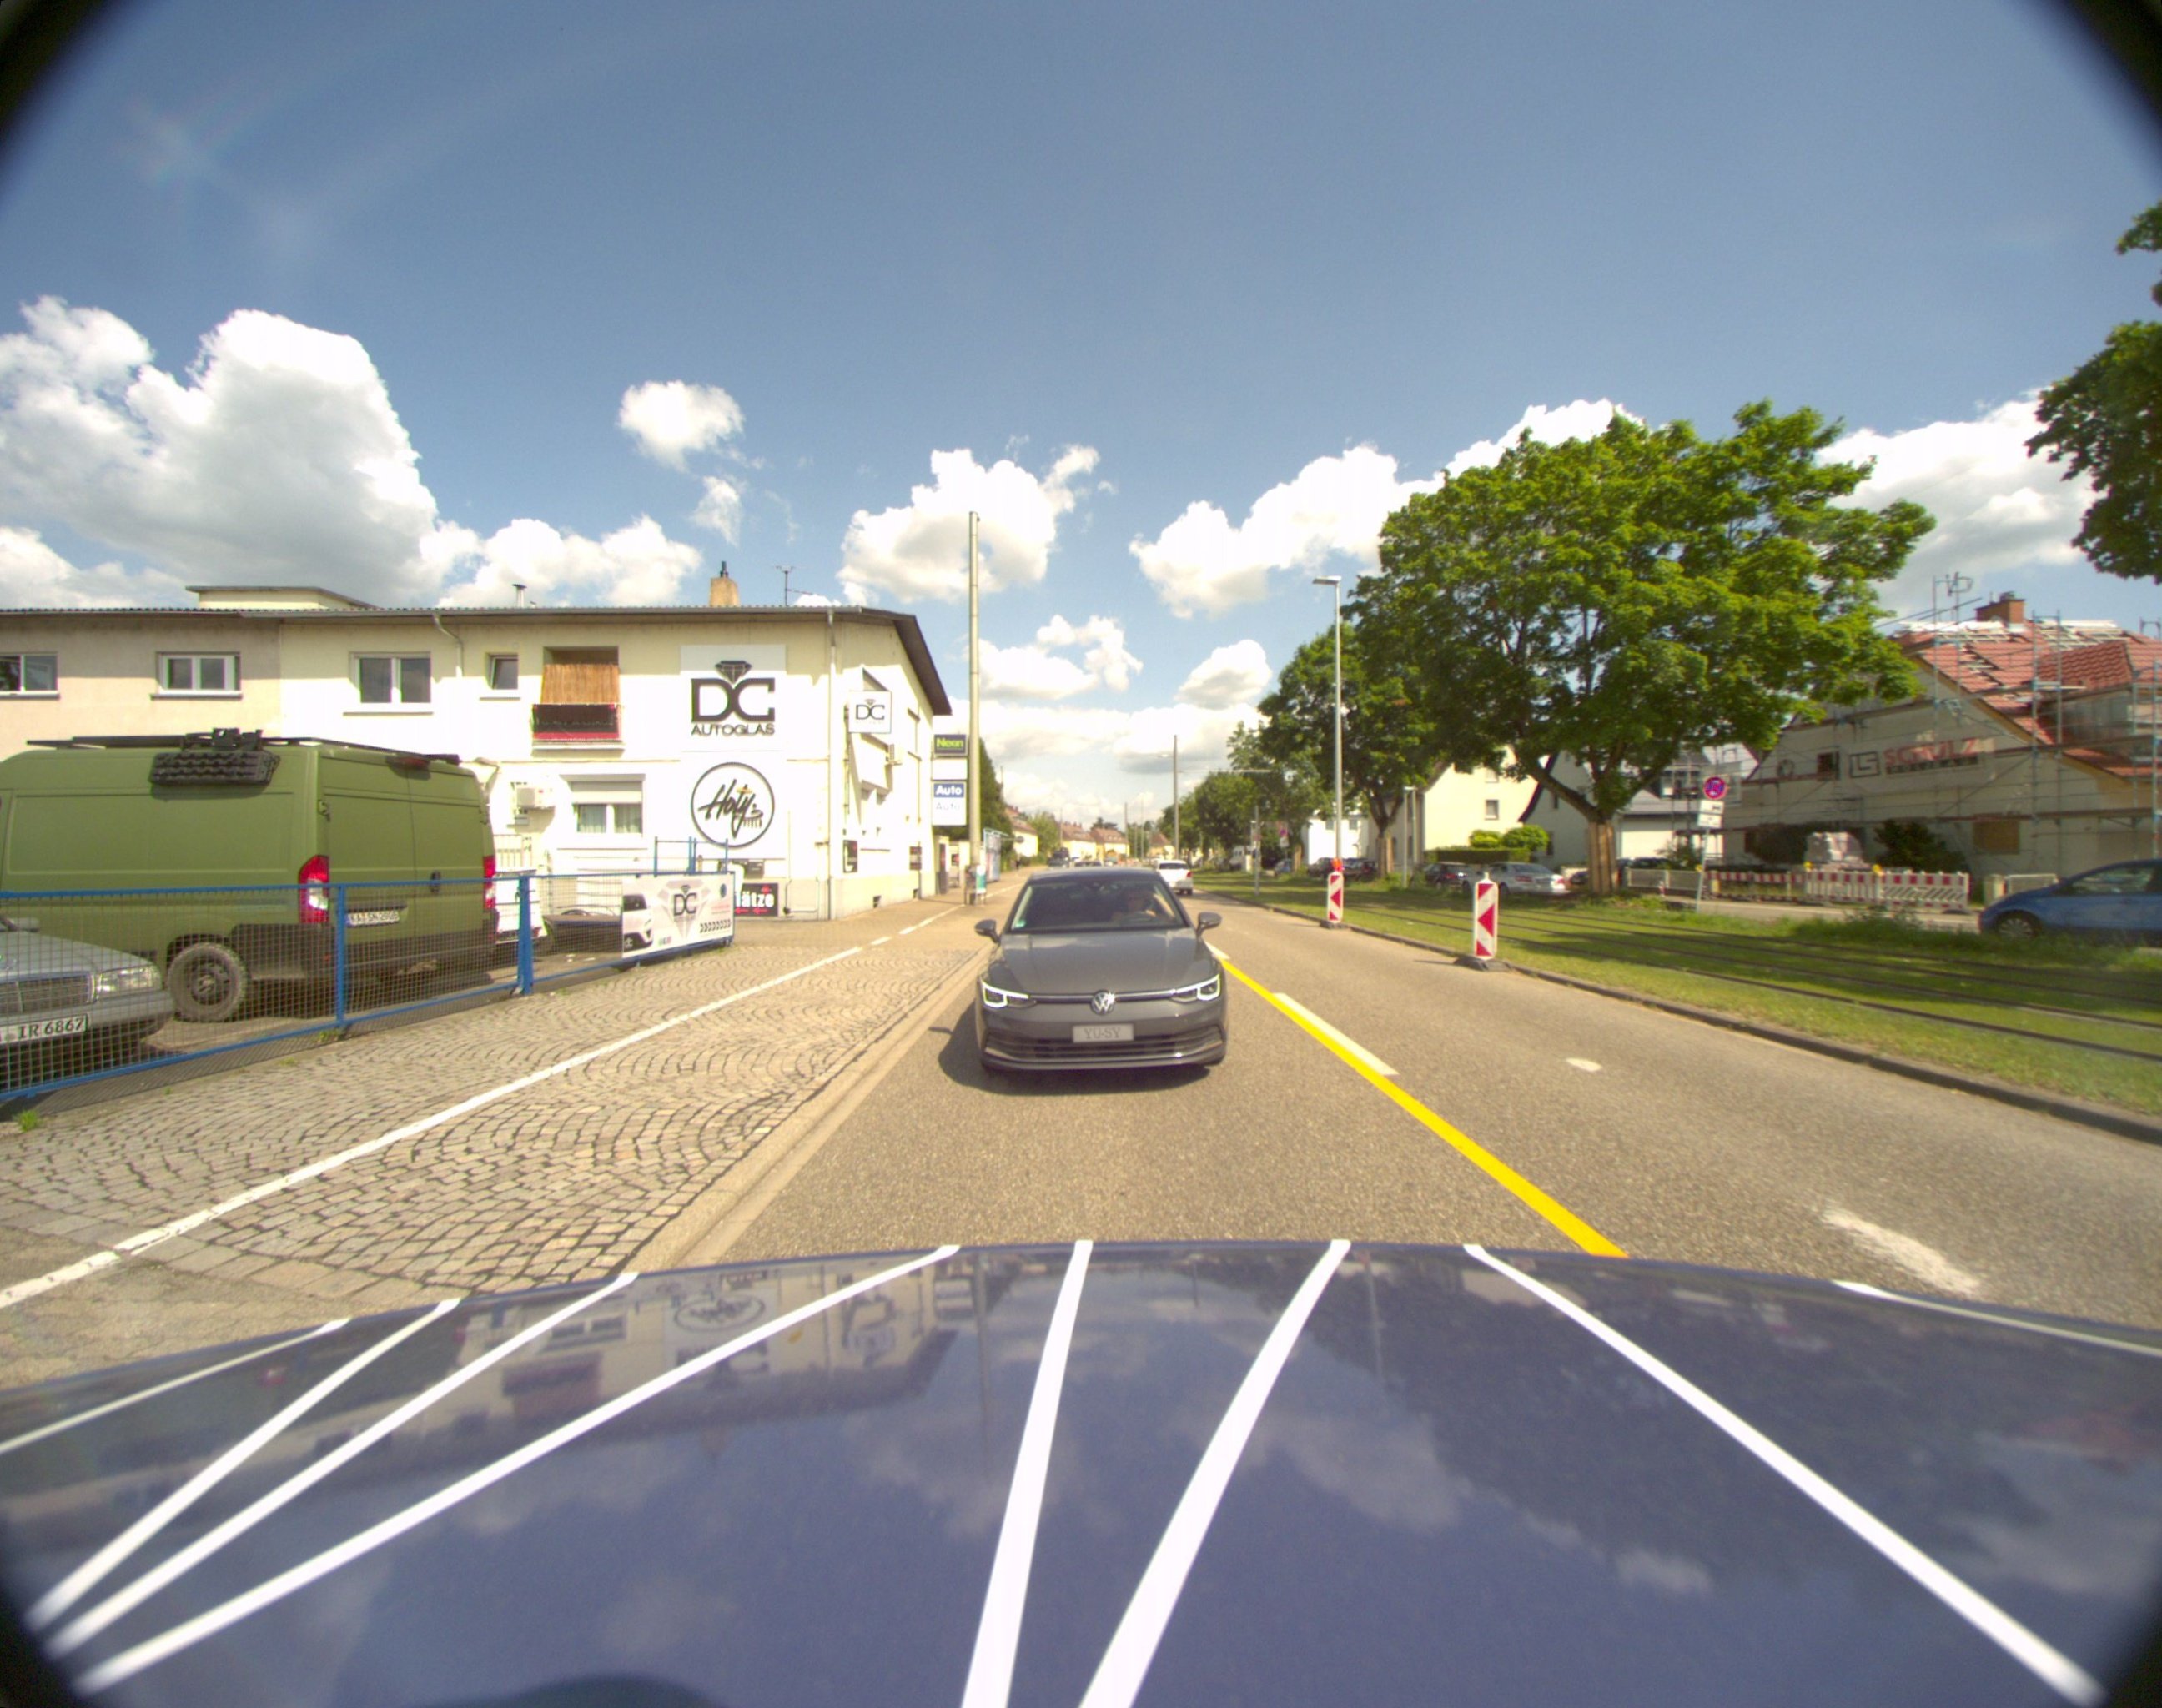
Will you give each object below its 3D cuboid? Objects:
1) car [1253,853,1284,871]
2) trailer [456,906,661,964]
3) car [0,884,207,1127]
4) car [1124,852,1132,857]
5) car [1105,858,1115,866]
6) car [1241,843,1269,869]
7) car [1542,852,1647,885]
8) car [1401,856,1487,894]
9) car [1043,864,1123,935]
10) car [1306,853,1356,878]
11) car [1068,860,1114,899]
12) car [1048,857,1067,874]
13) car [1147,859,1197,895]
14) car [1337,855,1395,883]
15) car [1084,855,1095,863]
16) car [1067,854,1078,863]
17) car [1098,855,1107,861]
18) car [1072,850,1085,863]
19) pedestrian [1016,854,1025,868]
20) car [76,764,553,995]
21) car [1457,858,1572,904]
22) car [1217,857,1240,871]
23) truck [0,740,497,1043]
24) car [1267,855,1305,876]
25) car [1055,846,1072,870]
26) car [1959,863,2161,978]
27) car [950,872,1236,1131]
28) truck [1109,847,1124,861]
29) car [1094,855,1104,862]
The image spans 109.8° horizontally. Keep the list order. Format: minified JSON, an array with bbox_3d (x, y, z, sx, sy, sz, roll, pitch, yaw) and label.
[{"bbox_3d":[17.583,0.757,71.496,1.755,1.602,4.606,0,0,0],"label":"car"},{"bbox_3d":[-8.064,1.240,11.837,2.329,0.762,1.269,0,0,2],"label":"trailer"},{"bbox_3d":[-8.438,0.920,4.810,4.206,1.388,1.804,0,0,8],"label":"car"},{"bbox_3d":[13.531,0.238,218.478,1.718,1.470,4.013,0,0,13],"label":"car"},{"bbox_3d":[5.167,1.400,135.647,1.755,1.405,4.262,0,0,3],"label":"car"},{"bbox_3d":[17.644,0.199,77.081,1.755,2.601,4.606,0,0,0],"label":"car"},{"bbox_3d":[25.510,0.722,37.833,4.047,1.602,1.757,0,0,1],"label":"car"},{"bbox_3d":[16.588,0.918,35.030,1.755,1.602,4.606,0,0,0],"label":"car"},{"bbox_3d":[0.073,1.010,18.427,1.719,1.470,4.009,0,0,1],"label":"car"},{"bbox_3d":[16.677,0.765,50.908,1.755,1.602,4.606,0,0,0],"label":"car"},{"bbox_3d":[0.402,0.998,31.555,1.787,1.470,4.009,0,0,1],"label":"car"},{"bbox_3d":[-2.162,1.068,70.987,1.720,1.470,4.009,0,0,0],"label":"car"},{"bbox_3d":[3.862,0.941,32.818,1.719,1.405,4.262,0,0,1],"label":"car"},{"bbox_3d":[16.899,0.852,45.268,1.755,1.602,4.606,0,0,0],"label":"car"},{"bbox_3d":[1.814,0.991,155.302,1.718,1.470,4.011,0,0,8],"label":"car"},{"bbox_3d":[-1.366,0.741,122.959,1.720,1.470,4.009,0,0,0],"label":"car"},{"bbox_3d":[5.177,1.000,179.086,1.718,1.470,4.011,0,0,8],"label":"car"},{"bbox_3d":[-0.430,0.402,136.323,1.719,2.360,5.211,0,0,5],"label":"car"},{"bbox_3d":[-6.642,0.763,83.393,0.816,1.577,0.918,0,0,1],"label":"pedestrian"},{"bbox_3d":[-9.456,0.304,9.652,4.209,2.653,1.803,0,0,0],"label":"car"},{"bbox_3d":[16.387,0.966,29.007,1.755,1.602,4.606,0,0,0],"label":"car"},{"bbox_3d":[16.931,1.154,87.270,1.755,1.602,4.606,0,0,0],"label":"car"},{"bbox_3d":[-8.625,0.331,7.567,3.997,2.592,2.069,0,0,1],"label":"truck"},{"bbox_3d":[16.493,0.918,61.357,1.755,1.602,4.606,0,0,0],"label":"car"},{"bbox_3d":[-1.920,0.413,82.849,1.720,2.526,5.794,0,0,0],"label":"car"},{"bbox_3d":[16.206,0.960,11.232,1.755,1.602,4.050,0,0,0],"label":"car"},{"bbox_3d":[0.098,0.939,6.592,1.719,1.470,4.009,0,0,1],"label":"car"},{"bbox_3d":[9.405,0.024,201.135,2.590,3.431,8.585,0,0,11],"label":"truck"},{"bbox_3d":[4.104,0.998,172.736,1.718,1.470,4.011,0,0,8],"label":"car"}]
